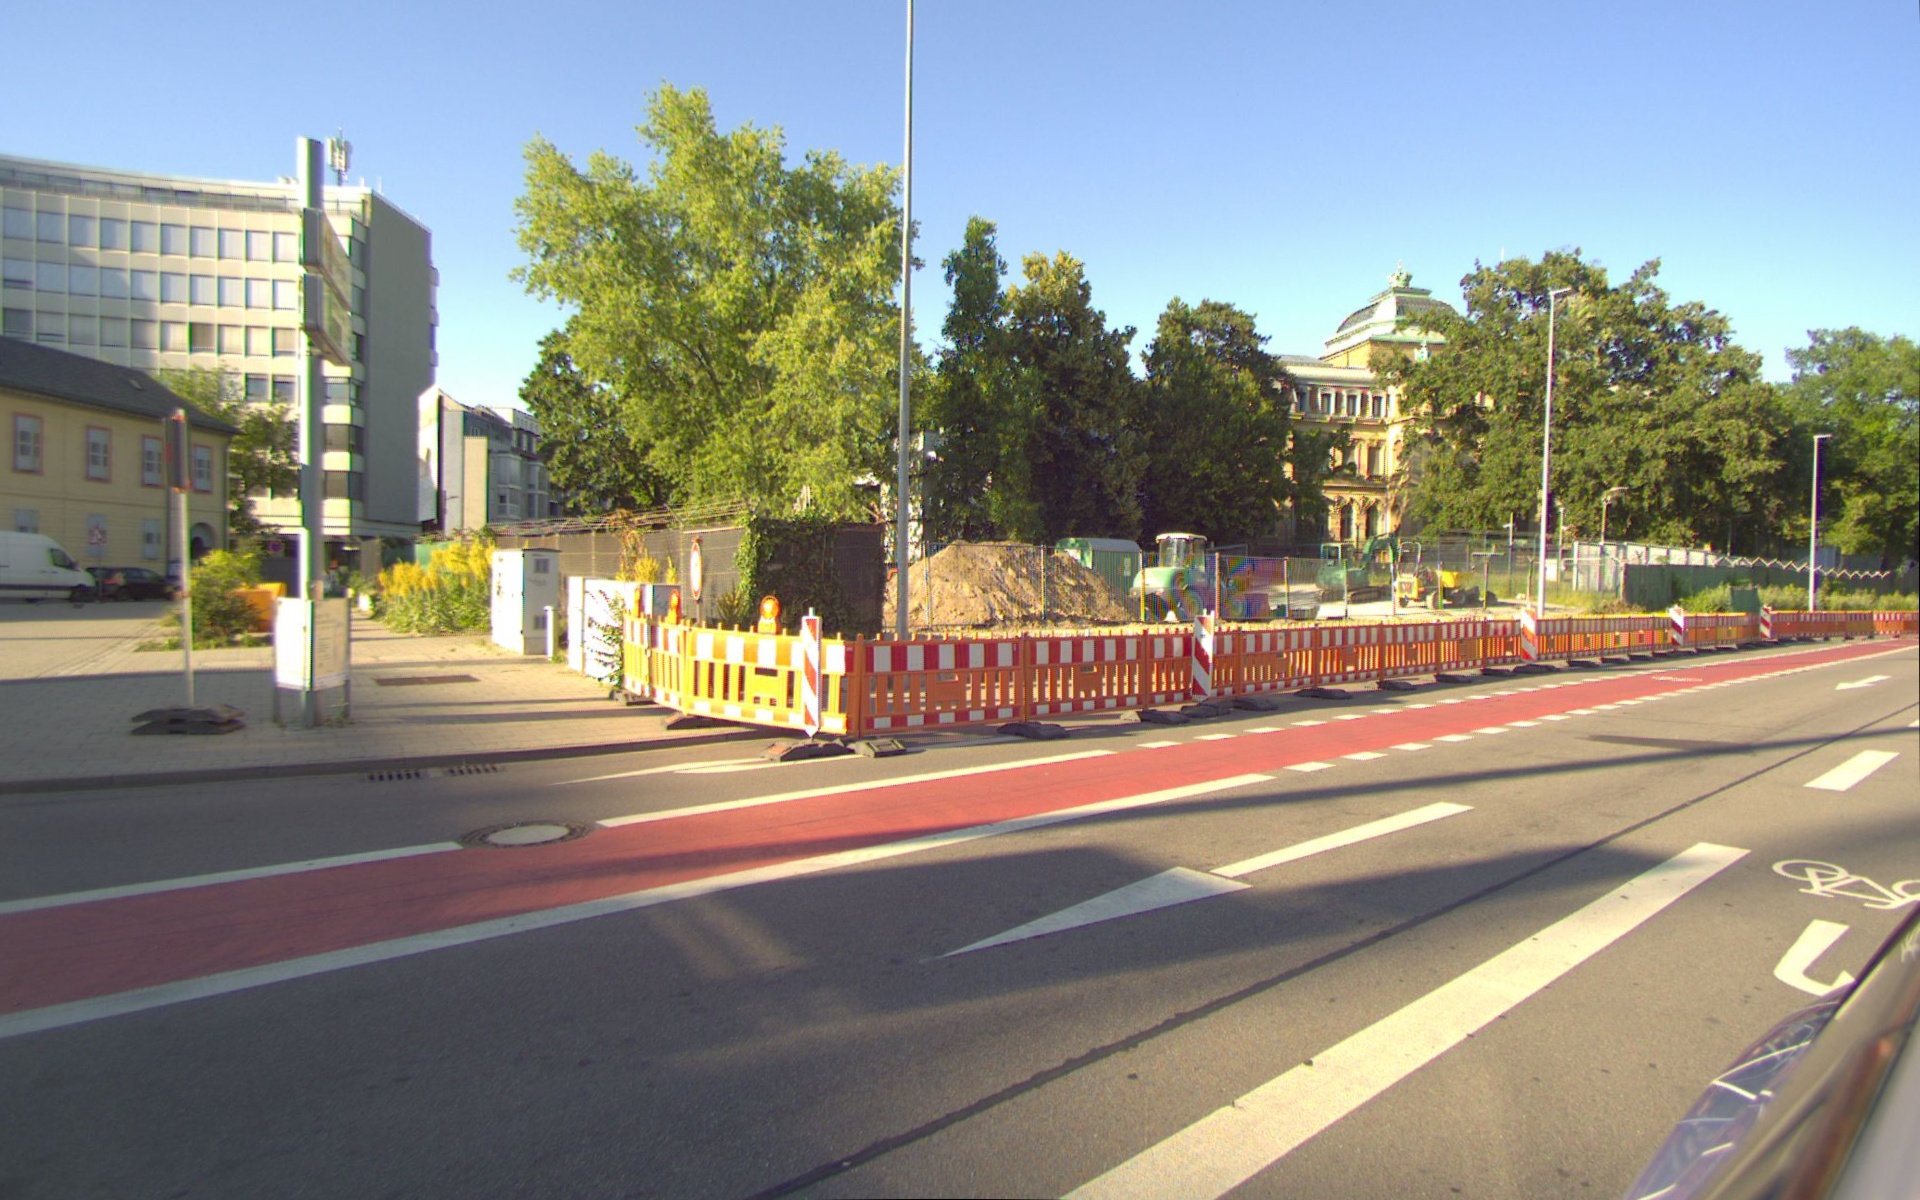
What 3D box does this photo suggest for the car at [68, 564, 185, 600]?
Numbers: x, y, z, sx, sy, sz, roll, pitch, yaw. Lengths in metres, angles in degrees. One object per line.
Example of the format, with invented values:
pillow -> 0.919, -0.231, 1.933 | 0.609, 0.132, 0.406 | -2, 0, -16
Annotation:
car -> -34.342, -0.733, 41.819 | 1.682, 1.382, 3.761 | 0, 0, 1

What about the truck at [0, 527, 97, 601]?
truck -> -34.316, -1.254, 36.060 | 2.258, 2.581, 5.638 | 0, 0, 1

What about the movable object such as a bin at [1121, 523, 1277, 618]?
movable object such as a bin -> 7.437, -0.876, 31.300 | 4.920, 2.717, 1.999 | -1, 0, -36

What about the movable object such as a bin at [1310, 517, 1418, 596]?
movable object such as a bin -> 18.157, -1.875, 45.381 | 5.274, 3.371, 1.999 | -1, 0, -36

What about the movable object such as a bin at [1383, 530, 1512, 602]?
movable object such as a bin -> 20.425, -1.371, 42.361 | 5.750, 2.852, 2.002 | -1, 0, -30

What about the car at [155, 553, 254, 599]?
car -> -34.397, -1.086, 46.174 | 1.682, 2.005, 3.761 | 0, 0, 1
